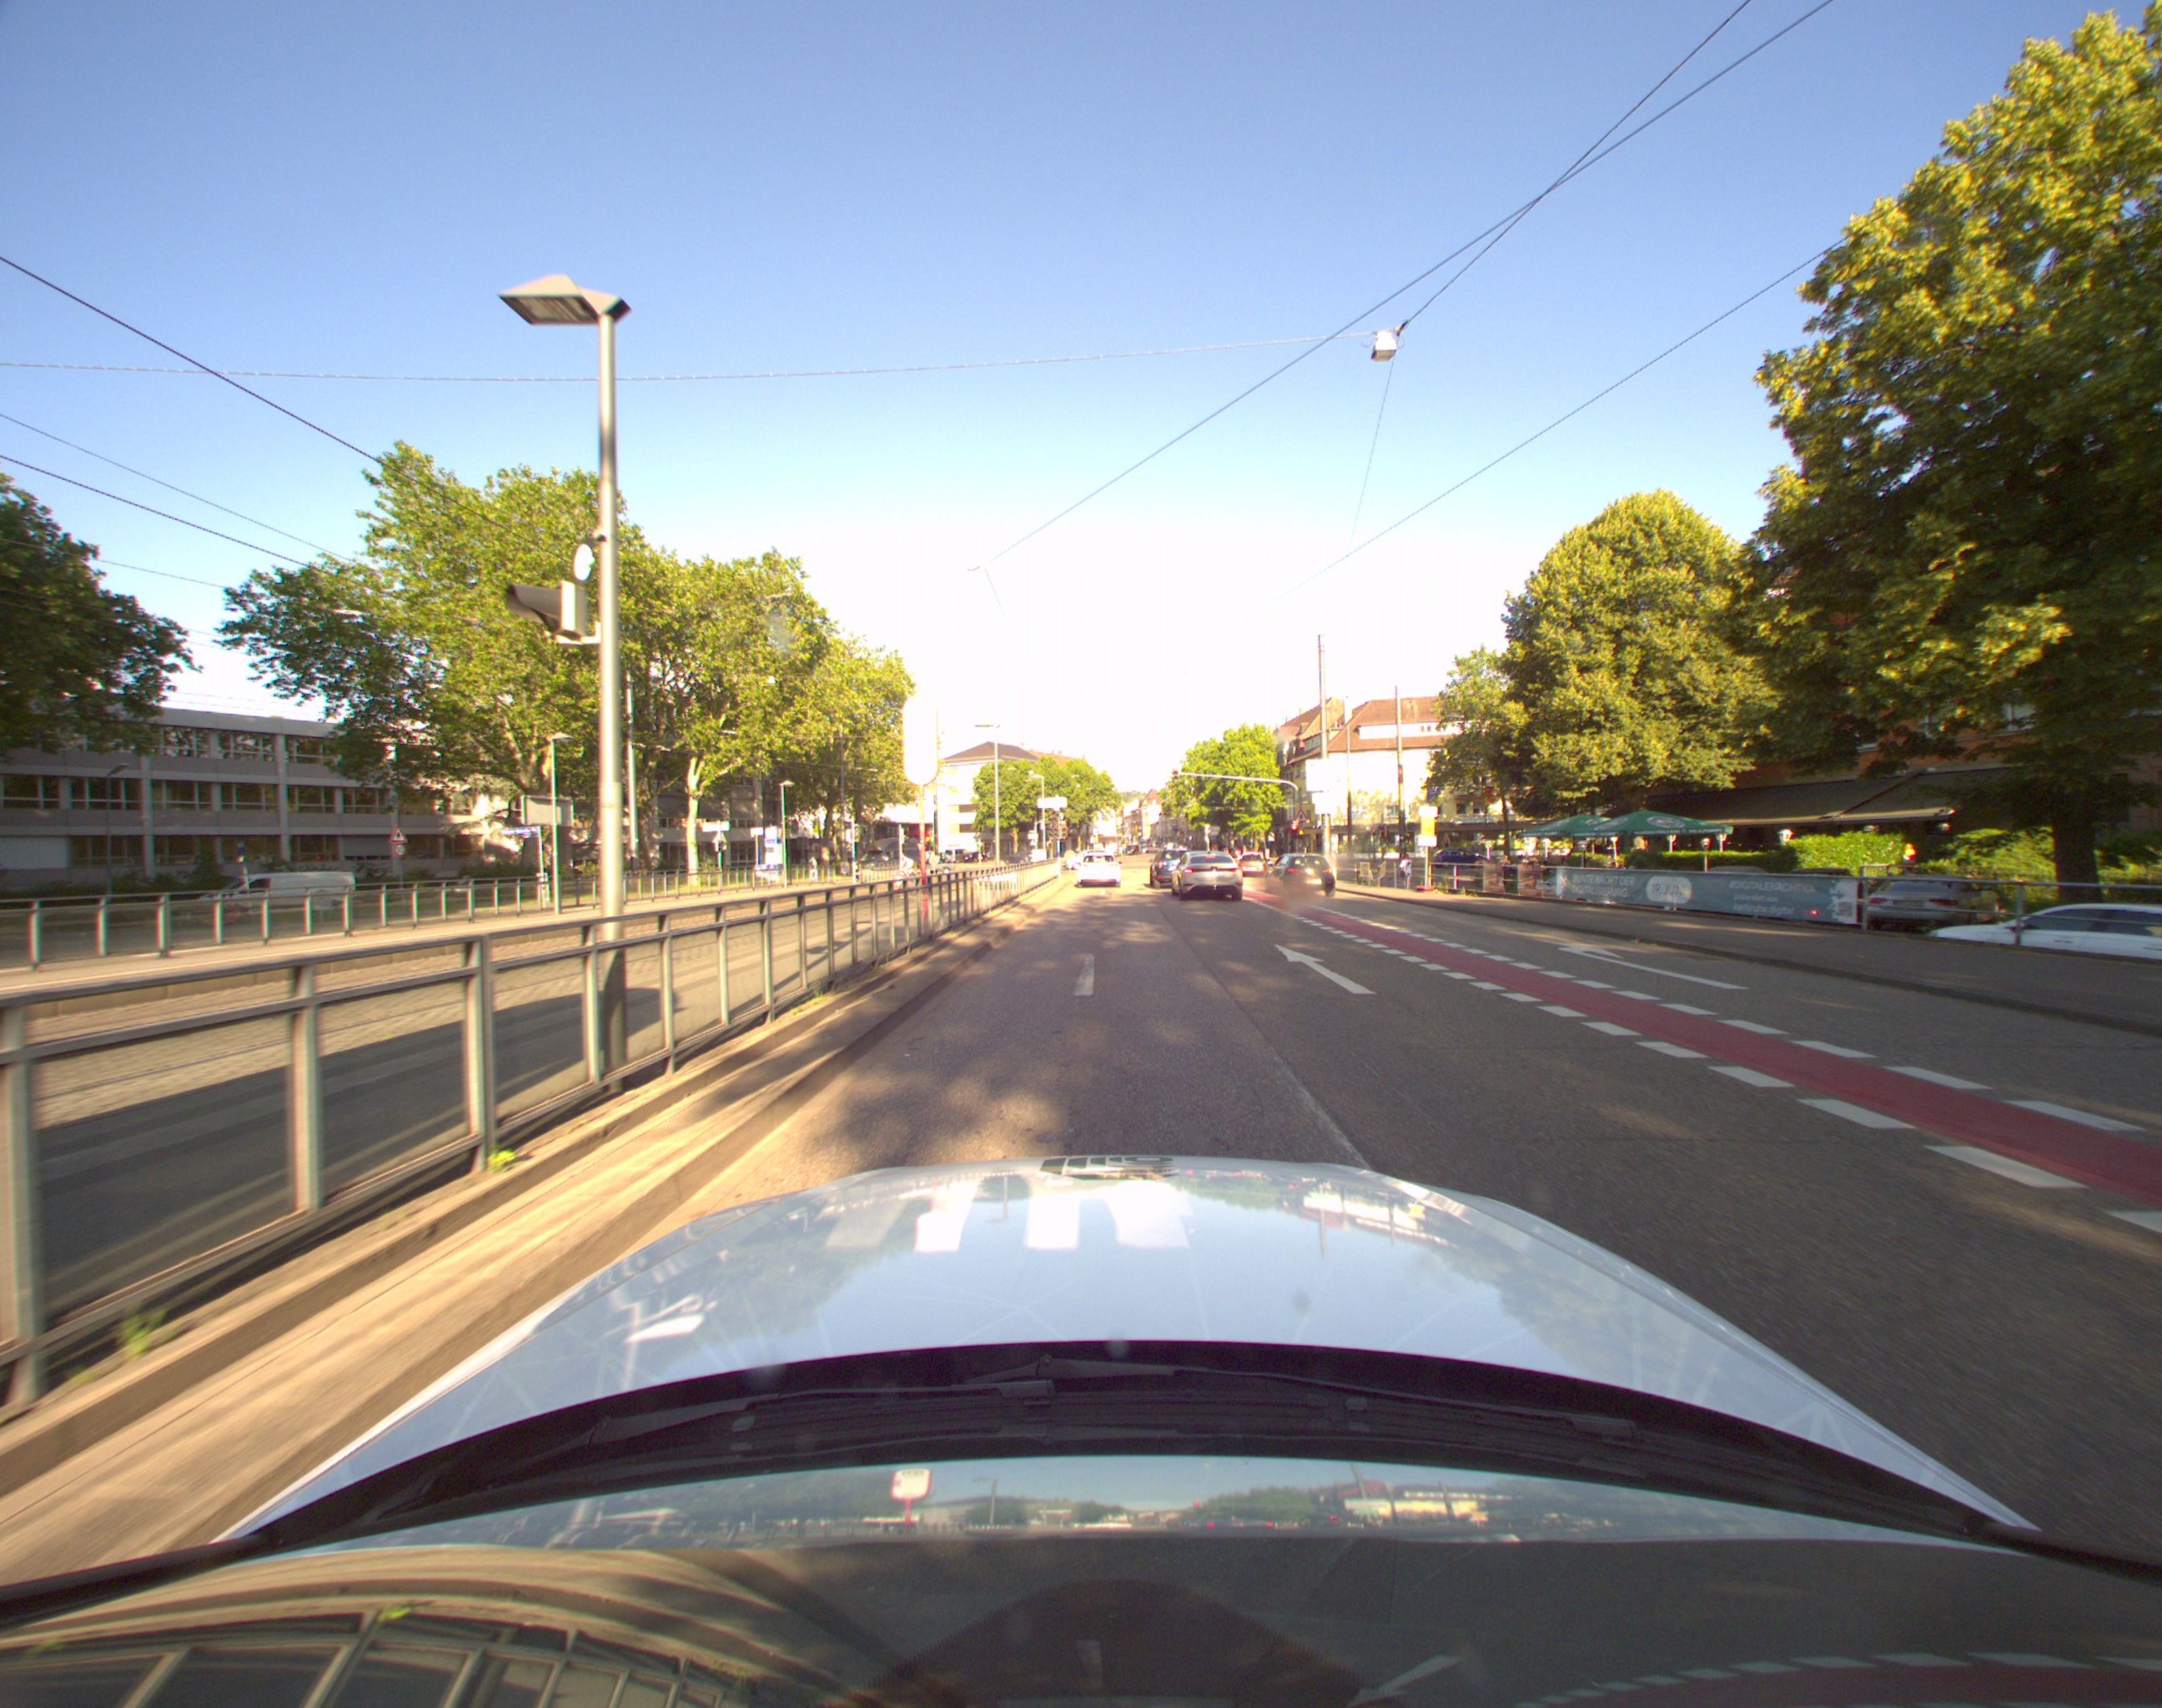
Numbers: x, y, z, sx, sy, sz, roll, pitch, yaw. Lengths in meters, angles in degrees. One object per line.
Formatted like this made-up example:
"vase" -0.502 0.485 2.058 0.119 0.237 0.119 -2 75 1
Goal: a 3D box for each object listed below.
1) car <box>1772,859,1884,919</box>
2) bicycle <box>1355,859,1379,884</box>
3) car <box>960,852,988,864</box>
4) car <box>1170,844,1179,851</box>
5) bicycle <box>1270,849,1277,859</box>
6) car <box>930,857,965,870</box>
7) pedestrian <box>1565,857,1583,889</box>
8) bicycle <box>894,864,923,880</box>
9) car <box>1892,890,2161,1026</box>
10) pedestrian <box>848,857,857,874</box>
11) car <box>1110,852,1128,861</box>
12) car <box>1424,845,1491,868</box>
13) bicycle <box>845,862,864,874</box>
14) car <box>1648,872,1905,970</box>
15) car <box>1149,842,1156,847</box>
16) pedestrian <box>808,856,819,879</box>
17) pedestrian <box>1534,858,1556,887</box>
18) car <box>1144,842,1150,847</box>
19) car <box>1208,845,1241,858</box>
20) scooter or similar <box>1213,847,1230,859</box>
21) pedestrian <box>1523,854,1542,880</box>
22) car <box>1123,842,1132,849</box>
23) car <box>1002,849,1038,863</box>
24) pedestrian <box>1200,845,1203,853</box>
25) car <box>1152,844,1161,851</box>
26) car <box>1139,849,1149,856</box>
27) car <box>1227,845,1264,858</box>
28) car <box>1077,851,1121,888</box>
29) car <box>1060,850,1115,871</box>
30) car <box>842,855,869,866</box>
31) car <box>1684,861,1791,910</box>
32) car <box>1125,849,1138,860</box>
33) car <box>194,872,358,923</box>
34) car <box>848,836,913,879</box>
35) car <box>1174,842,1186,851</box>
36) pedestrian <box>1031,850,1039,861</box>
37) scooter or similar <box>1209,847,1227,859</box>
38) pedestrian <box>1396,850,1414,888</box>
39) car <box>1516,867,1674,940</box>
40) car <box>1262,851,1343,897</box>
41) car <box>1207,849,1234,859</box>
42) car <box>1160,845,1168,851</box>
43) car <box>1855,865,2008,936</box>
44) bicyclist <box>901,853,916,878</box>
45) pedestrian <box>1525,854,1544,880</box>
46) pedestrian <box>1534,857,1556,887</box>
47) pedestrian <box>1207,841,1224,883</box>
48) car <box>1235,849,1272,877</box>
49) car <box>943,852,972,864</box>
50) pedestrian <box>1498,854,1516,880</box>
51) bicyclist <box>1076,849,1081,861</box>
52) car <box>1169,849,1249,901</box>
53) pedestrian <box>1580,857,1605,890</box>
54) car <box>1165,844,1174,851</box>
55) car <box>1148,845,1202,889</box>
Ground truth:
"car" 22.317 0.979 24.276 4.019 1.480 1.780 -3 1 -38
"bicycle" 12.634 0.747 36.011 0.496 1.075 1.801 0 -1 2
"car" -14.901 0.523 113.412 1.904 1.649 4.203 -1 0 22
"car" 21.329 -1.483 185.727 1.787 1.510 4.001 -1 0 1
"bicycle" 21.436 -0.036 90.671 0.606 1.107 1.803 -1 0 6
"car" -16.930 1.231 103.266 3.949 1.510 1.811 -1 0 28
"pedestrian" 21.220 0.820 35.056 0.642 1.338 0.636 1 0 32
"bicycle" -9.691 1.019 45.770 1.612 0.816 0.525 -1 0 -12
"car" 14.473 1.380 11.454 1.787 1.579 4.444 0 -1 2
"pedestrian" -23.127 1.140 82.307 0.645 1.661 0.651 -1 0 4
"car" 6.361 0.430 135.831 1.779 1.510 4.020 -2 -1 21
"car" 26.694 0.172 57.831 3.968 1.510 1.802 -1 0 4
"bicycle" -23.013 1.410 82.796 1.786 1.107 0.501 -1 0 4
"car" 14.789 1.325 17.700 1.791 1.803 4.203 0 -1 -5
"car" 21.140 -2.810 241.660 1.787 1.510 4.001 -1 0 1
"pedestrian" -18.558 0.956 56.524 0.533 1.552 0.677 -1 0 1
"pedestrian" 21.911 0.848 38.475 0.645 1.338 0.632 1 0 2
"car" 21.290 -3.175 261.500 1.787 1.510 4.001 -1 0 1
"car" 18.908 -0.315 107.184 3.979 1.510 1.797 -1 0 -4
"scooter or similar" 15.729 -0.139 91.065 1.926 1.280 0.557 -1 0 43
"pedestrian" 23.912 0.677 43.136 0.645 1.338 0.632 1 0 2
"car" 10.226 -1.925 180.739 1.788 1.510 4.000 -1 0 1
"car" -6.840 0.233 91.011 3.949 1.510 1.811 -1 0 40
"pedestrian" 25.201 -1.131 170.254 0.643 1.651 0.652 0 -1 12
"car" 21.924 -1.971 236.169 2.318 2.013 4.978 -1 0 1
"car" 12.794 -0.320 165.737 1.788 1.510 4.000 -1 0 1
"car" 19.563 -0.290 96.879 3.983 1.510 1.796 -1 0 -7
"car" 0.776 0.621 35.059 1.801 1.452 4.001 -1 0 1
"car" 0.504 0.510 65.874 4.152 1.692 1.813 0 0 -14
"car" -34.156 0.952 123.327 1.778 1.510 4.023 -1 0 25
"car" 22.034 1.006 27.302 4.018 1.348 1.760 -3 1 -36
"car" 8.879 0.012 143.212 1.782 1.826 4.014 -1 0 12
"car" -42.396 2.230 43.126 2.131 2.335 5.757 -1 0 25
"car" -13.335 0.272 54.572 2.052 2.743 5.050 -1 -1 15
"car" 21.811 -1.602 179.183 2.097 1.776 4.343 -1 0 1
"pedestrian" -6.470 0.206 115.102 0.795 1.484 0.867 -1 0 28
"scooter or similar" 15.247 -0.142 90.526 1.926 1.280 0.557 -1 0 43
"pedestrian" 13.457 0.620 33.803 0.642 1.563 0.635 1 0 20
"car" 14.662 1.332 23.562 1.788 1.898 4.358 0 -1 0
"car" 7.462 0.637 27.773 1.793 1.439 4.047 0 0 2
"car" 20.828 0.005 121.360 4.021 1.510 1.779 -1 0 -40
"car" 21.409 -1.614 211.142 1.787 1.522 4.001 -1 0 1
"car" 21.719 1.101 20.763 4.266 1.406 1.944 -3 1 -33
"bicyclist" -9.697 0.640 45.770 0.801 1.414 0.525 -1 0 -11
"pedestrian" 23.501 0.669 42.230 0.645 1.338 0.632 1 0 2
"pedestrian" 21.403 0.841 37.544 0.645 1.338 0.632 1 0 2
"pedestrian" 6.163 0.357 37.242 0.654 1.871 0.678 -1 0 1
"car" 10.327 0.520 48.568 1.780 1.510 4.018 -1 1 17
"car" -17.322 0.584 114.178 1.777 1.649 4.035 -1 0 31
"pedestrian" 22.613 0.683 43.218 0.645 1.338 0.632 1 0 2
"bicyclist" -0.368 0.107 117.558 0.463 1.745 0.721 -1 0 25
"car" 3.958 0.597 26.012 1.922 1.472 4.857 -1 0 2
"pedestrian" 21.465 0.808 34.189 0.645 1.338 0.632 1 0 2
"car" 20.854 -1.514 191.903 1.787 1.510 4.001 -1 0 1
"car" 3.755 0.490 33.194 1.794 1.638 4.046 -1 0 1
